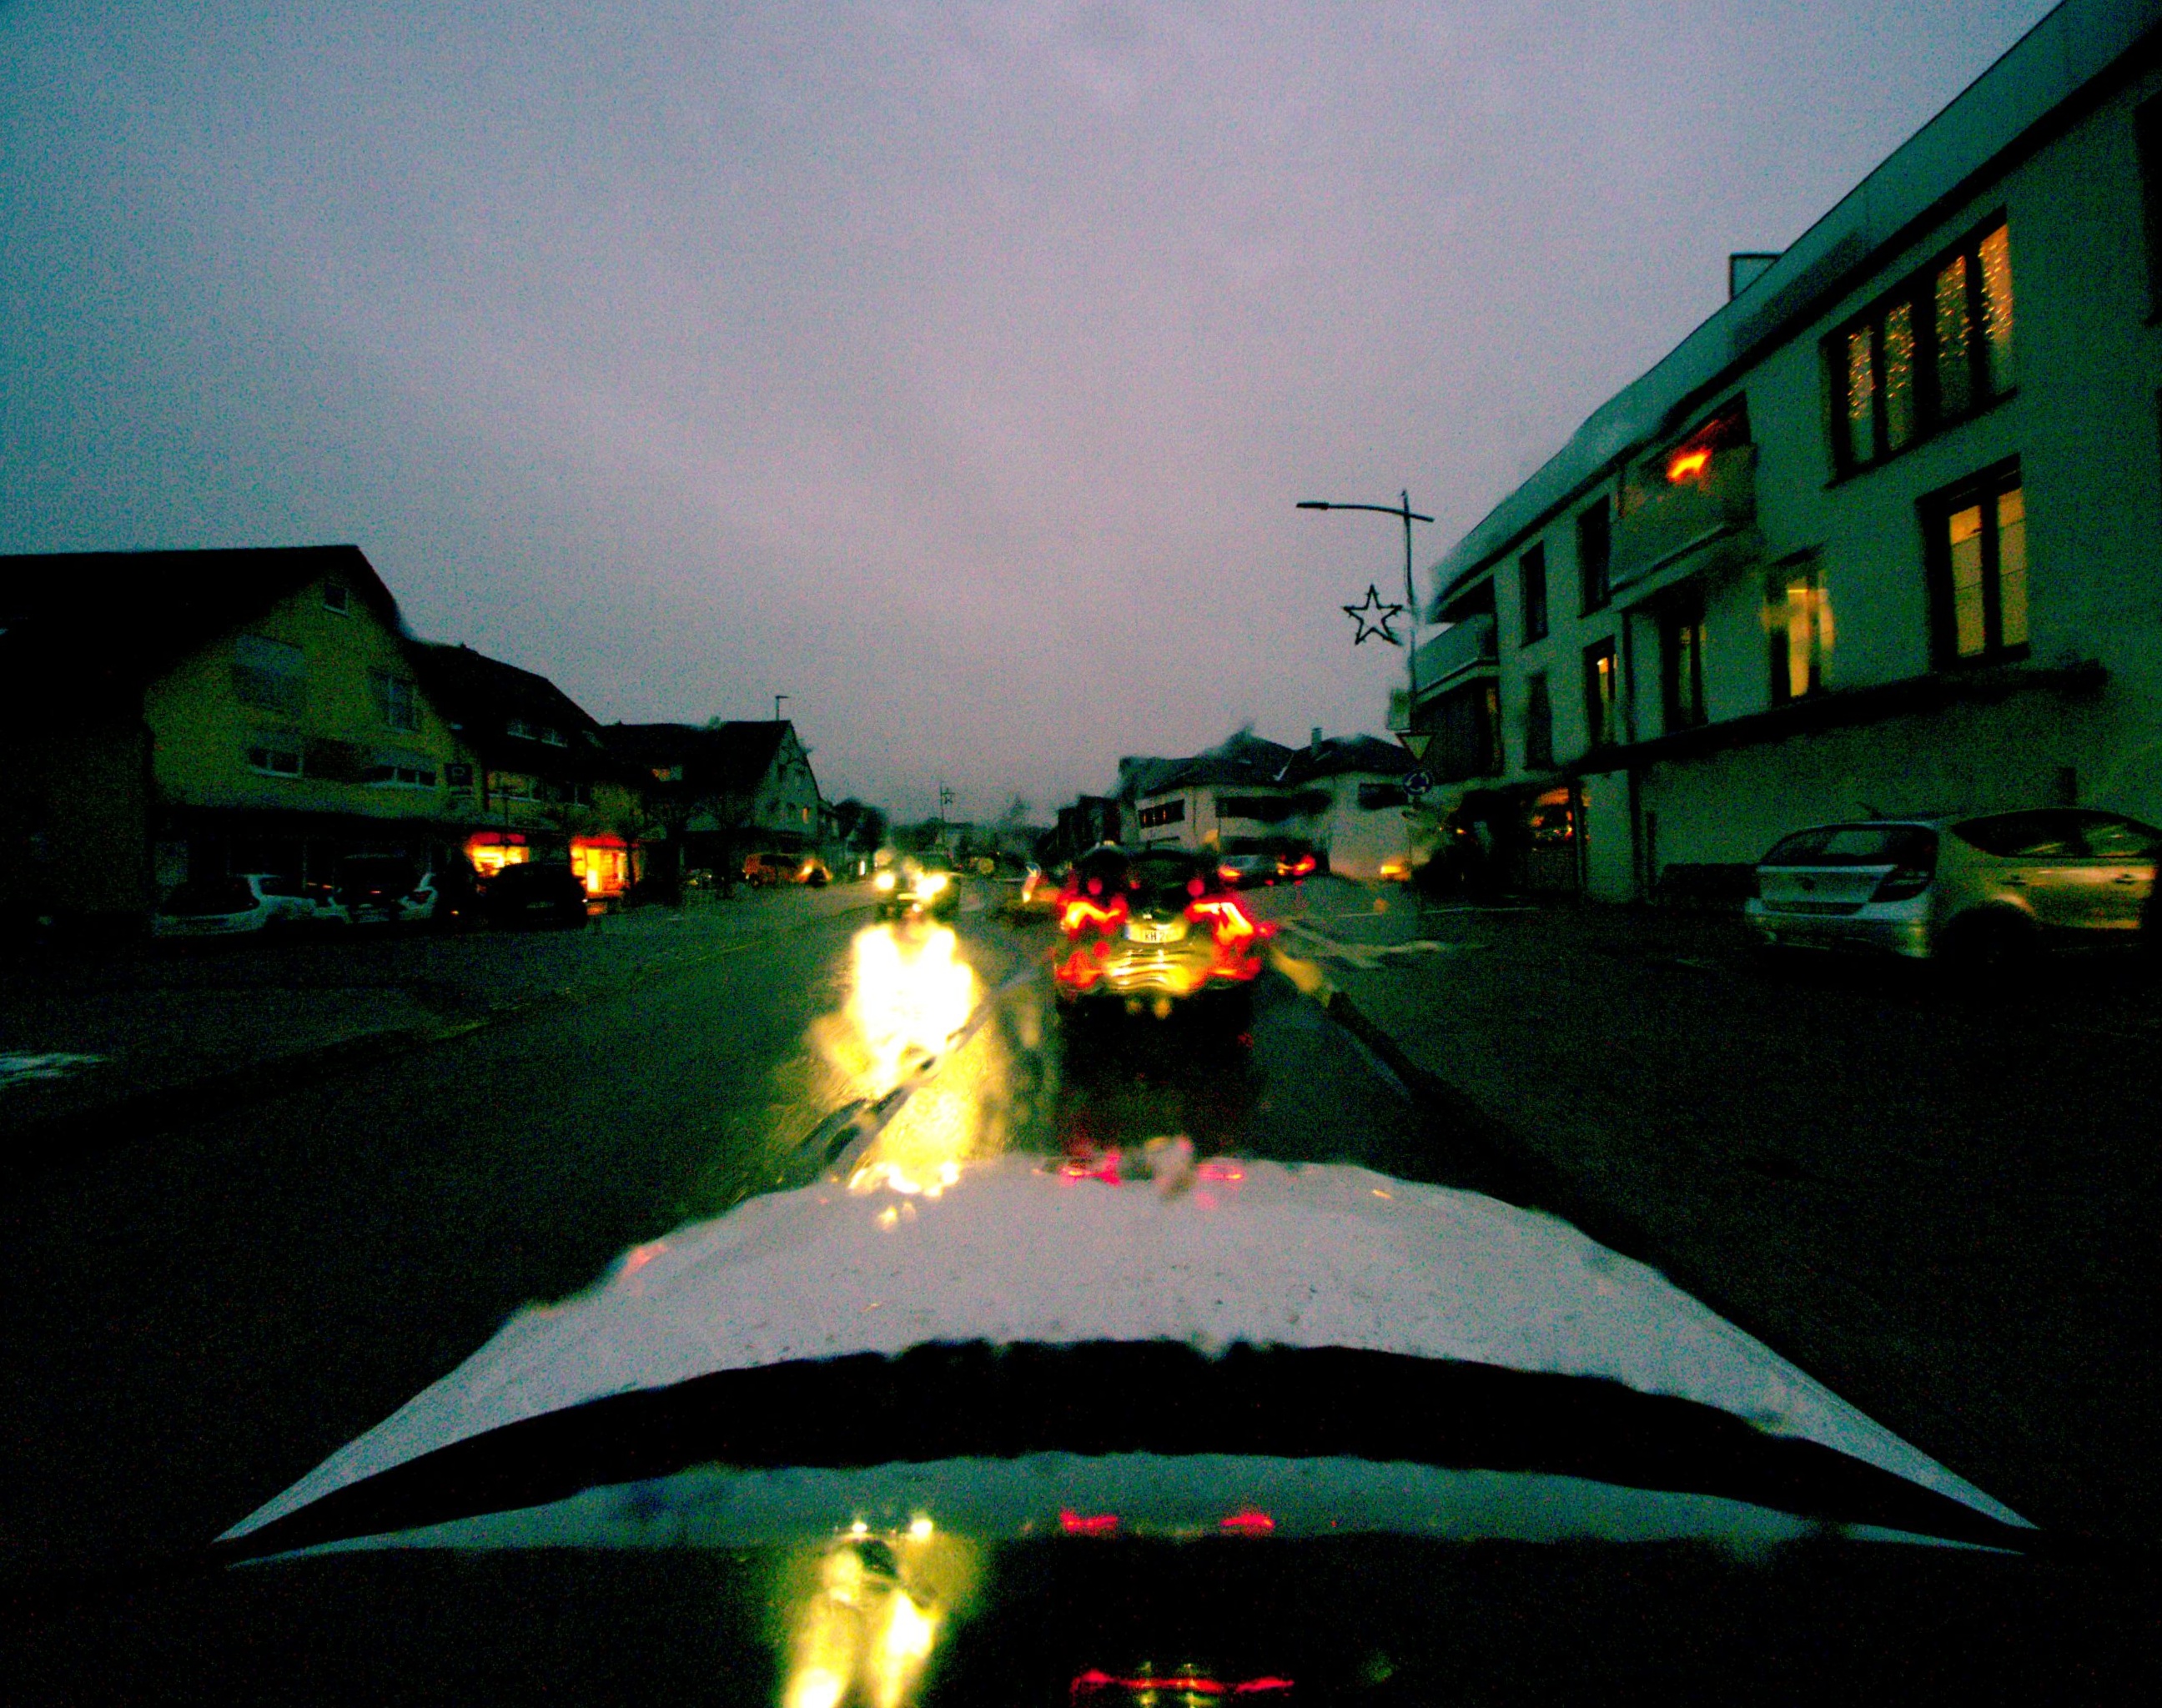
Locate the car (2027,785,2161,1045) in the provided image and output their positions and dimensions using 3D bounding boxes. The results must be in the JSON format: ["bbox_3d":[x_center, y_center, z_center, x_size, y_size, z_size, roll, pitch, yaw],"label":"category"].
[{"bbox_3d":[8.457,0.140,4.446,4.501,1.492,1.971,-5,-2,-5],"label":"car"}]

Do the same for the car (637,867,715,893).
[{"bbox_3d":[-23.925,1.559,48.177,3.809,1.422,1.717,-1,-3,5],"label":"car"}]

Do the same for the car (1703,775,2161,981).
[{"bbox_3d":[8.340,0.157,7.489,3.983,1.503,1.809,-3,-2,-7],"label":"car"}]

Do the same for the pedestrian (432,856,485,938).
[{"bbox_3d":[-13.655,0.928,17.873,0.845,1.711,0.716,-3,0,-37],"label":"pedestrian"}]

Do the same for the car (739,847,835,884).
[{"bbox_3d":[-16.712,0.655,46.335,4.846,2.014,2.009,-1,-1,17],"label":"car"}]

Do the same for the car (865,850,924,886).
[{"bbox_3d":[-9.925,0.747,43.097,1.731,1.813,4.093,0,-1,-33],"label":"car"}]

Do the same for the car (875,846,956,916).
[{"bbox_3d":[-4.193,0.616,21.122,1.777,1.621,3.947,0,0,-8],"label":"car"}]

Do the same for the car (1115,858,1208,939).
[{"bbox_3d":[1.643,0.877,17.840,1.771,1.539,3.934,-1,0,2],"label":"car"}]

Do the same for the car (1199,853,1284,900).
[{"bbox_3d":[6.631,0.879,33.316,1.804,1.628,4.026,-3,1,36],"label":"car"}]

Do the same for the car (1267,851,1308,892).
[{"bbox_3d":[10.819,0.870,42.867,1.789,1.861,4.013,-3,1,12],"label":"car"}]

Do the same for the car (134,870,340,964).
[{"bbox_3d":[-17.730,1.228,17.374,1.769,1.631,3.965,-3,1,-27],"label":"car"}]

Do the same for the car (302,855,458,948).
[{"bbox_3d":[-14.916,0.945,17.572,1.847,1.670,3.858,-3,1,-31],"label":"car"}]

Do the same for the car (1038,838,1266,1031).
[{"bbox_3d":[0.646,0.681,8.848,1.909,1.615,3.951,0,0,1],"label":"car"}]

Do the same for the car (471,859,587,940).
[{"bbox_3d":[-12.545,0.955,18.533,1.922,1.531,4.135,-3,1,-35],"label":"car"}]
